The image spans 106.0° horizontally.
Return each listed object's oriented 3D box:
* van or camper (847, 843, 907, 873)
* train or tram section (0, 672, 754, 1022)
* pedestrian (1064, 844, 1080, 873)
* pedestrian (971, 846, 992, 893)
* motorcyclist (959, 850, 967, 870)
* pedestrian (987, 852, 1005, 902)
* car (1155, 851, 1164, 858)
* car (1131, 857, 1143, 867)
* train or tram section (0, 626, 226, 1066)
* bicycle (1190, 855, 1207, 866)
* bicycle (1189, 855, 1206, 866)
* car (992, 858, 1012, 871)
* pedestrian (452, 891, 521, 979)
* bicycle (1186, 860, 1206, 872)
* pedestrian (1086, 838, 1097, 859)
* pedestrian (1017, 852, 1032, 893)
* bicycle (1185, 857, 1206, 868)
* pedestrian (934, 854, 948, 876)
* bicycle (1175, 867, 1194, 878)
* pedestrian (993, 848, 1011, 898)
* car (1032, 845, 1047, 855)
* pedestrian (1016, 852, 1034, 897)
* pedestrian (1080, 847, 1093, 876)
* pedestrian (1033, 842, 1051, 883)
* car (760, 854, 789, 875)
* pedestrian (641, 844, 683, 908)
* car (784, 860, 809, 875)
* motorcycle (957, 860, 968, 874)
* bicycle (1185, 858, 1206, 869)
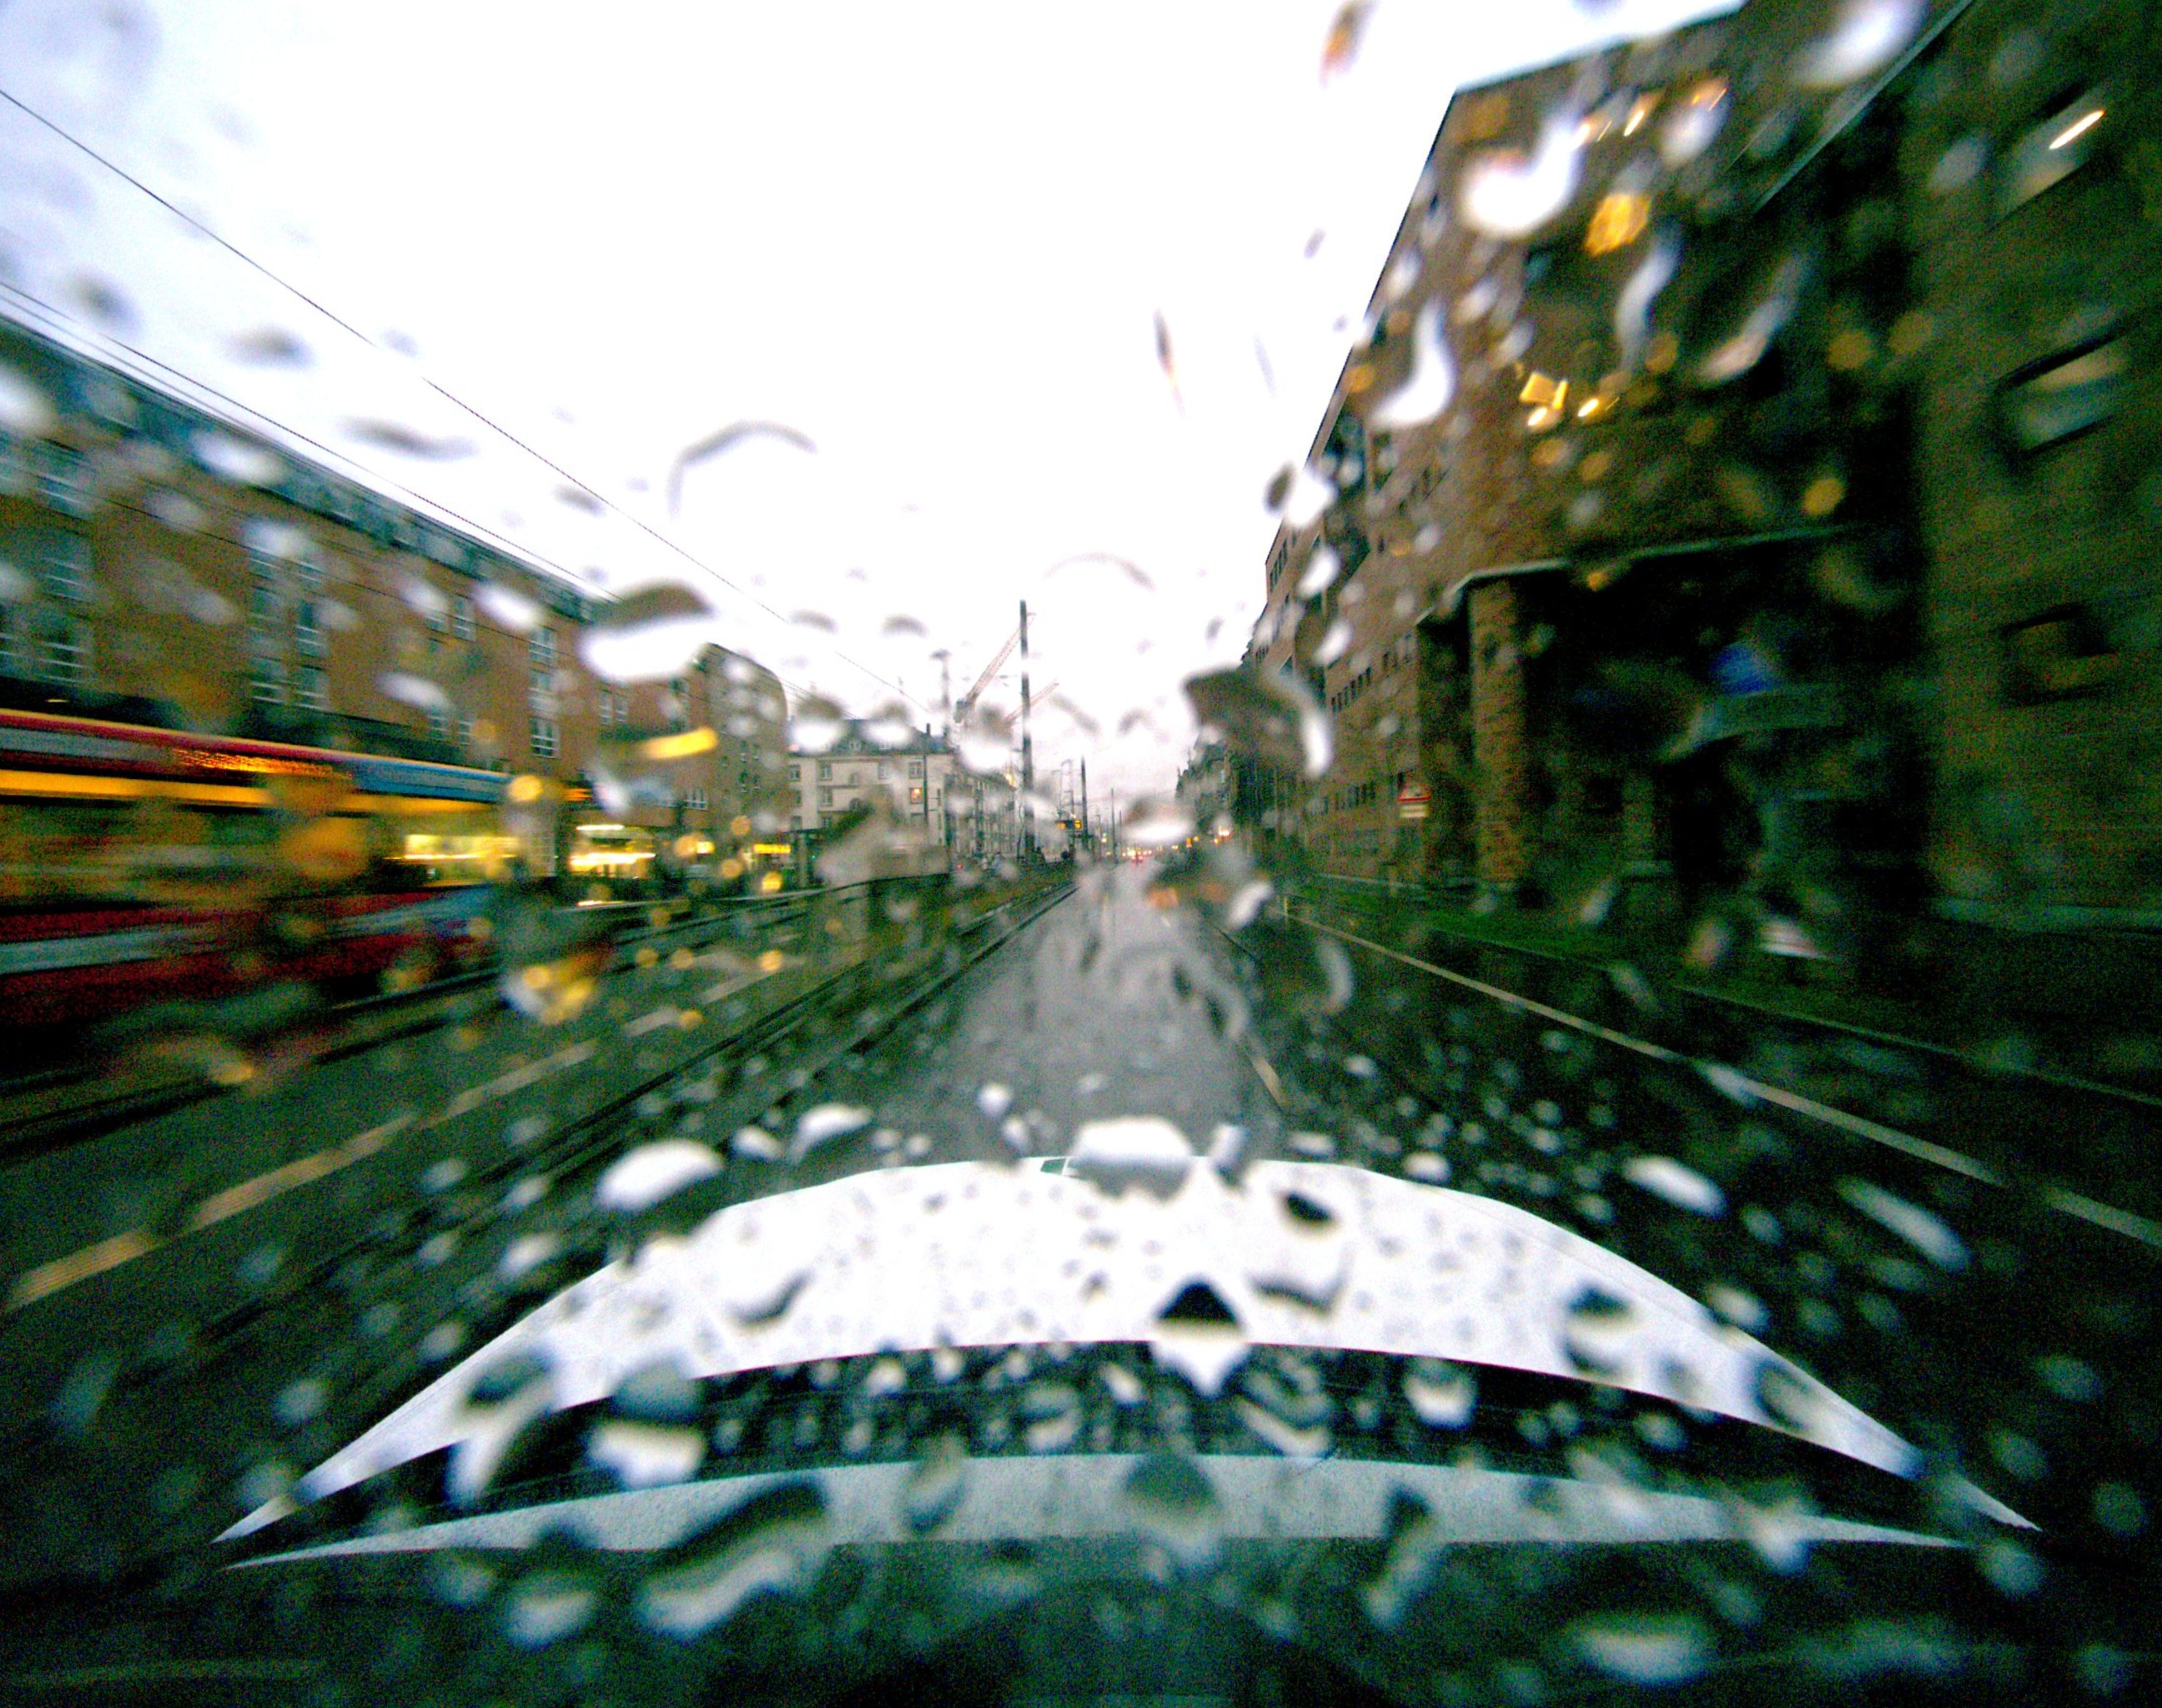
[{"bbox_3d":[-19.114,0.359,76.749,2.755,2.682,6.775,0,0,11],"label":"van or camper"},{"bbox_3d":[-9.639,-0.069,13.892,2.886,3.568,11.049,0,0,5],"label":"train or tram section"},{"bbox_3d":[-0.532,0.278,48.481,0.777,1.704,0.769,-1,0,-14],"label":"pedestrian"},{"bbox_3d":[-3.446,0.534,28.182,0.616,1.590,0.622,-1,0,1],"label":"pedestrian"},{"bbox_3d":[-8.813,0.417,60.907,0.497,1.496,0.556,0,0,-1],"label":"motorcyclist"},{"bbox_3d":[-2.742,0.721,26.362,0.479,1.590,0.563,-1,0,1],"label":"pedestrian"},{"bbox_3d":[18.407,0.122,191.096,1.789,1.604,3.777,-2,0,7],"label":"car"},{"bbox_3d":[9.245,1.280,134.018,1.775,1.467,3.154,-2,0,6],"label":"car"},{"bbox_3d":[-10.553,-0.060,2.820,2.911,3.578,11.049,0,0,5],"label":"train or tram section"},{"bbox_3d":[11.994,0.693,83.089,1.723,1.055,0.371,-3,0,2],"label":"bicycle"},{"bbox_3d":[11.971,0.697,83.593,1.723,1.055,0.371,-3,0,2],"label":"bicycle"},{"bbox_3d":[-8.713,1.122,89.778,1.674,1.354,3.549,-1,0,3],"label":"car"},{"bbox_3d":[-8.099,1.091,11.110,0.577,1.152,0.491,0,0,5],"label":"pedestrian"},{"bbox_3d":[12.023,1.221,85.042,2.000,1.095,0.425,-5,0,2],"label":"bicycle"},{"bbox_3d":[0.777,-0.404,60.828,0.679,1.516,0.617,-1,0,-8],"label":"pedestrian"},{"bbox_3d":[-2.356,0.764,33.910,0.538,1.692,0.644,-1,0,1],"label":"pedestrian"},{"bbox_3d":[12.158,0.913,86.386,2.135,1.055,0.425,-4,1,3],"label":"bicycle"},{"bbox_3d":[-9.656,0.763,56.211,0.639,1.524,0.748,0,0,-38],"label":"pedestrian"},{"bbox_3d":[11.535,2.032,90.767,2.096,1.052,0.475,-3,0,-23],"label":"bicycle"},{"bbox_3d":[-2.694,0.659,27.831,0.479,1.678,0.563,-1,0,1],"label":"pedestrian"},{"bbox_3d":[-5.726,-0.498,112.214,1.674,1.354,3.549,-1,0,3],"label":"car"},{"bbox_3d":[-2.008,0.727,29.206,0.538,1.590,0.563,-1,0,1],"label":"pedestrian"},{"bbox_3d":[0.373,0.503,55.172,0.806,1.947,0.805,-2,0,4],"label":"pedestrian"},{"bbox_3d":[-1.652,0.364,34.473,0.646,1.704,0.565,-1,0,-14],"label":"pedestrian"},{"bbox_3d":[-31.415,1.063,83.493,1.741,2.034,4.134,-2,0,-7],"label":"car"},{"bbox_3d":[-12.655,0.655,24.602,0.790,1.886,0.882,-1,0,-3],"label":"pedestrian"},{"bbox_3d":[-29.610,1.390,84.869,1.599,1.430,4.134,-2,0,-7],"label":"car"},{"bbox_3d":[-8.821,0.936,60.800,0.511,1.008,1.807,0,0,0],"label":"motorcycle"},{"bbox_3d":[12.198,1.054,87.008,2.135,1.055,0.485,-3,0,2],"label":"bicycle"}]
